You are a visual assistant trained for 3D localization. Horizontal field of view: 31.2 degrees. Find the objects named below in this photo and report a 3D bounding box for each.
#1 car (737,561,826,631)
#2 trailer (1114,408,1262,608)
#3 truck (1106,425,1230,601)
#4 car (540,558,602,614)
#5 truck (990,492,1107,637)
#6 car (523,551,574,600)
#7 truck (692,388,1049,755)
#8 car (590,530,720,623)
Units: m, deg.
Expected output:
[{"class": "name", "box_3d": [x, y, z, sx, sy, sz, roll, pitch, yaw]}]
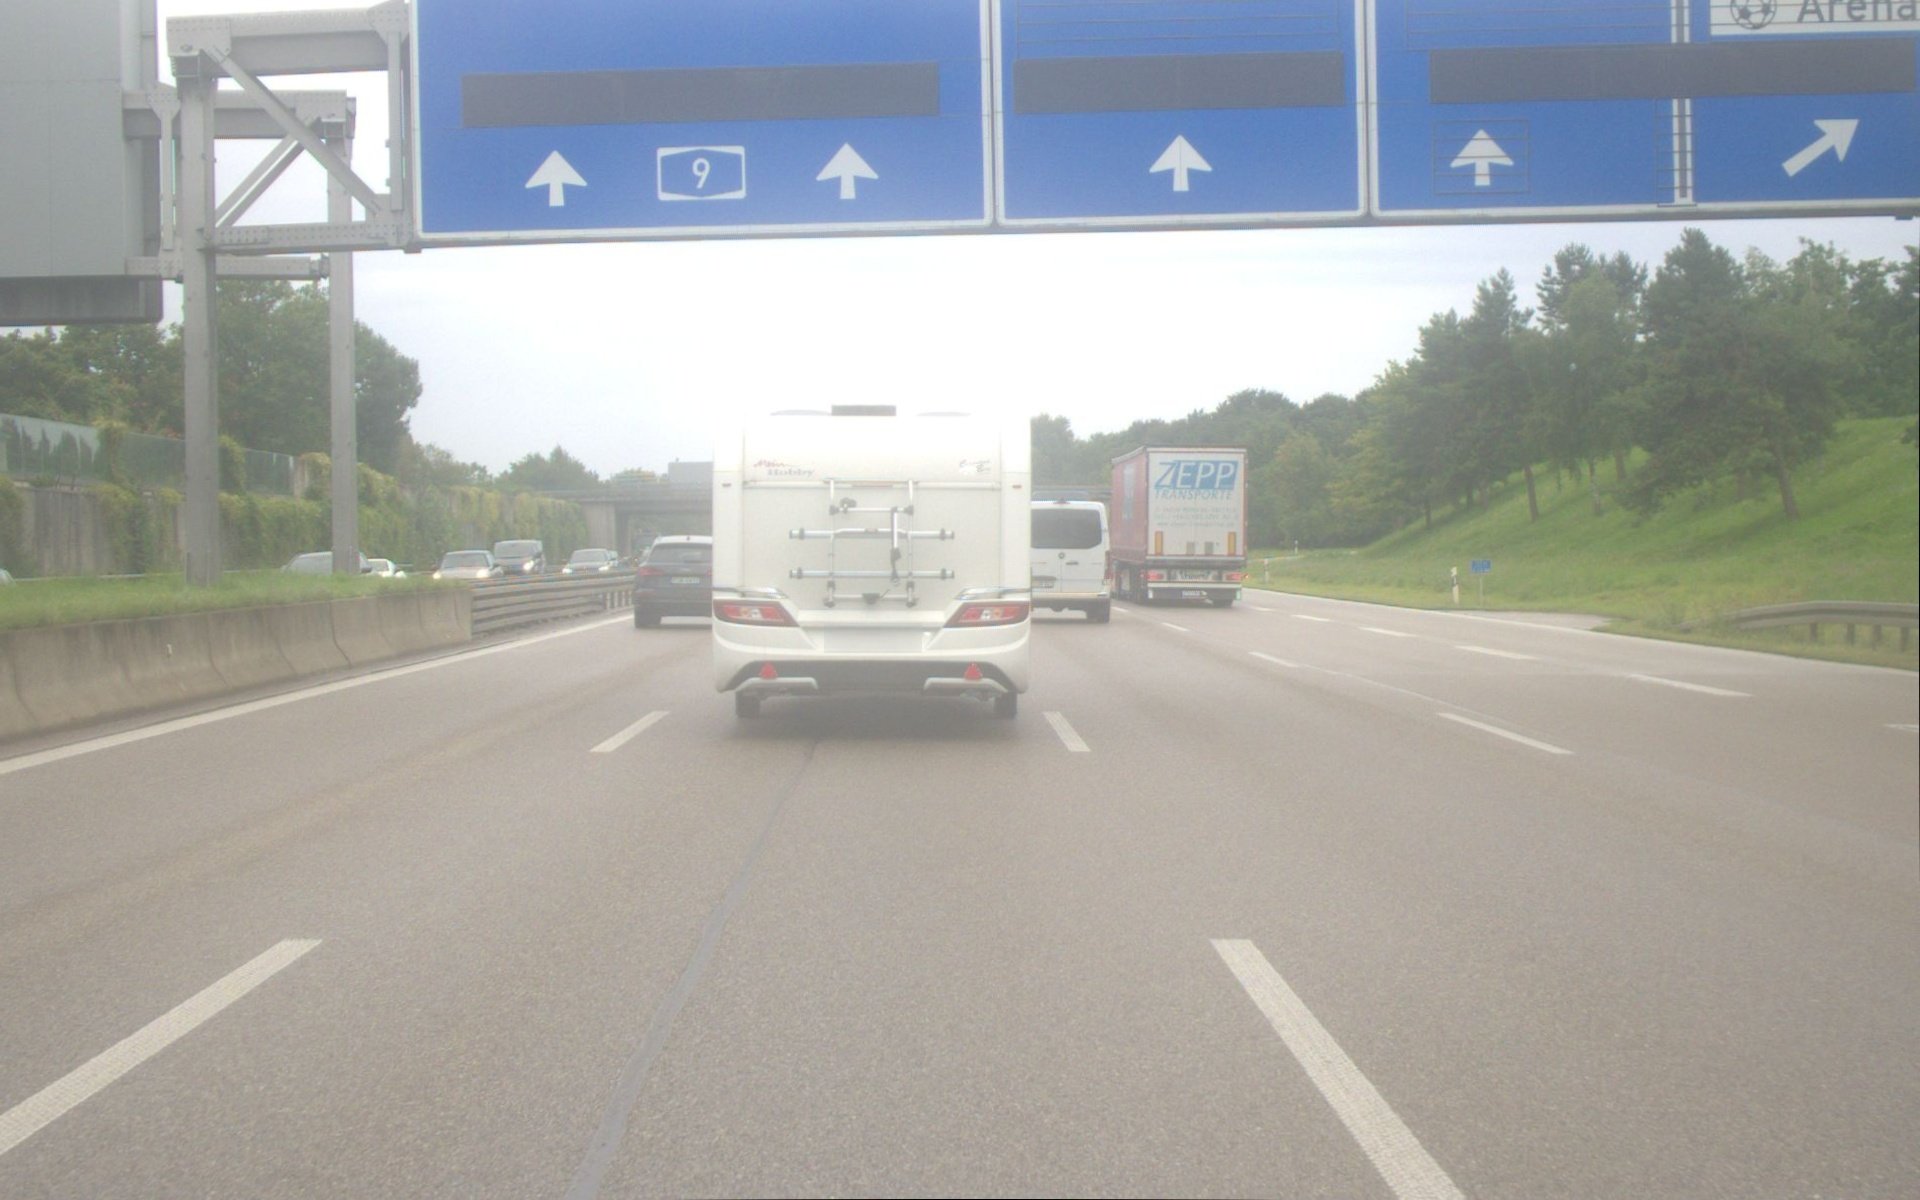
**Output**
[{"class": "car", "box_3d": [-4.633, -0.120, 89.732, 2.128, 1.700, 4.113, 3, 0, -1]}, {"class": "trailer", "box_3d": [5.902, -2.341, 90.817, 3.100, 4.905, 11.790, 1, 1, 0]}, {"class": "truck", "box_3d": [5.893, -2.447, 98.273, 3.048, 4.822, 5.850, 1, 1, 0]}, {"class": "car", "box_3d": [-14.289, -0.521, 126.532, 1.854, 2.007, 3.852, 1, 1, -1]}, {"class": "truck", "box_3d": [1.721, -0.713, 68.816, 2.053, 2.760, 5.549, 1, 1, -1]}, {"class": "car", "box_3d": [-17.087, -1.019, 142.718, 1.709, 2.007, 3.598, 1, 1, -1]}, {"class": "truck", "box_3d": [-0.727, -0.243, 28.510, 2.661, 2.733, 5.078, 1, 1, -1]}, {"class": "car", "box_3d": [-5.503, -0.438, 62.564, 1.993, 1.594, 5.124, 1, 1, -1]}]
